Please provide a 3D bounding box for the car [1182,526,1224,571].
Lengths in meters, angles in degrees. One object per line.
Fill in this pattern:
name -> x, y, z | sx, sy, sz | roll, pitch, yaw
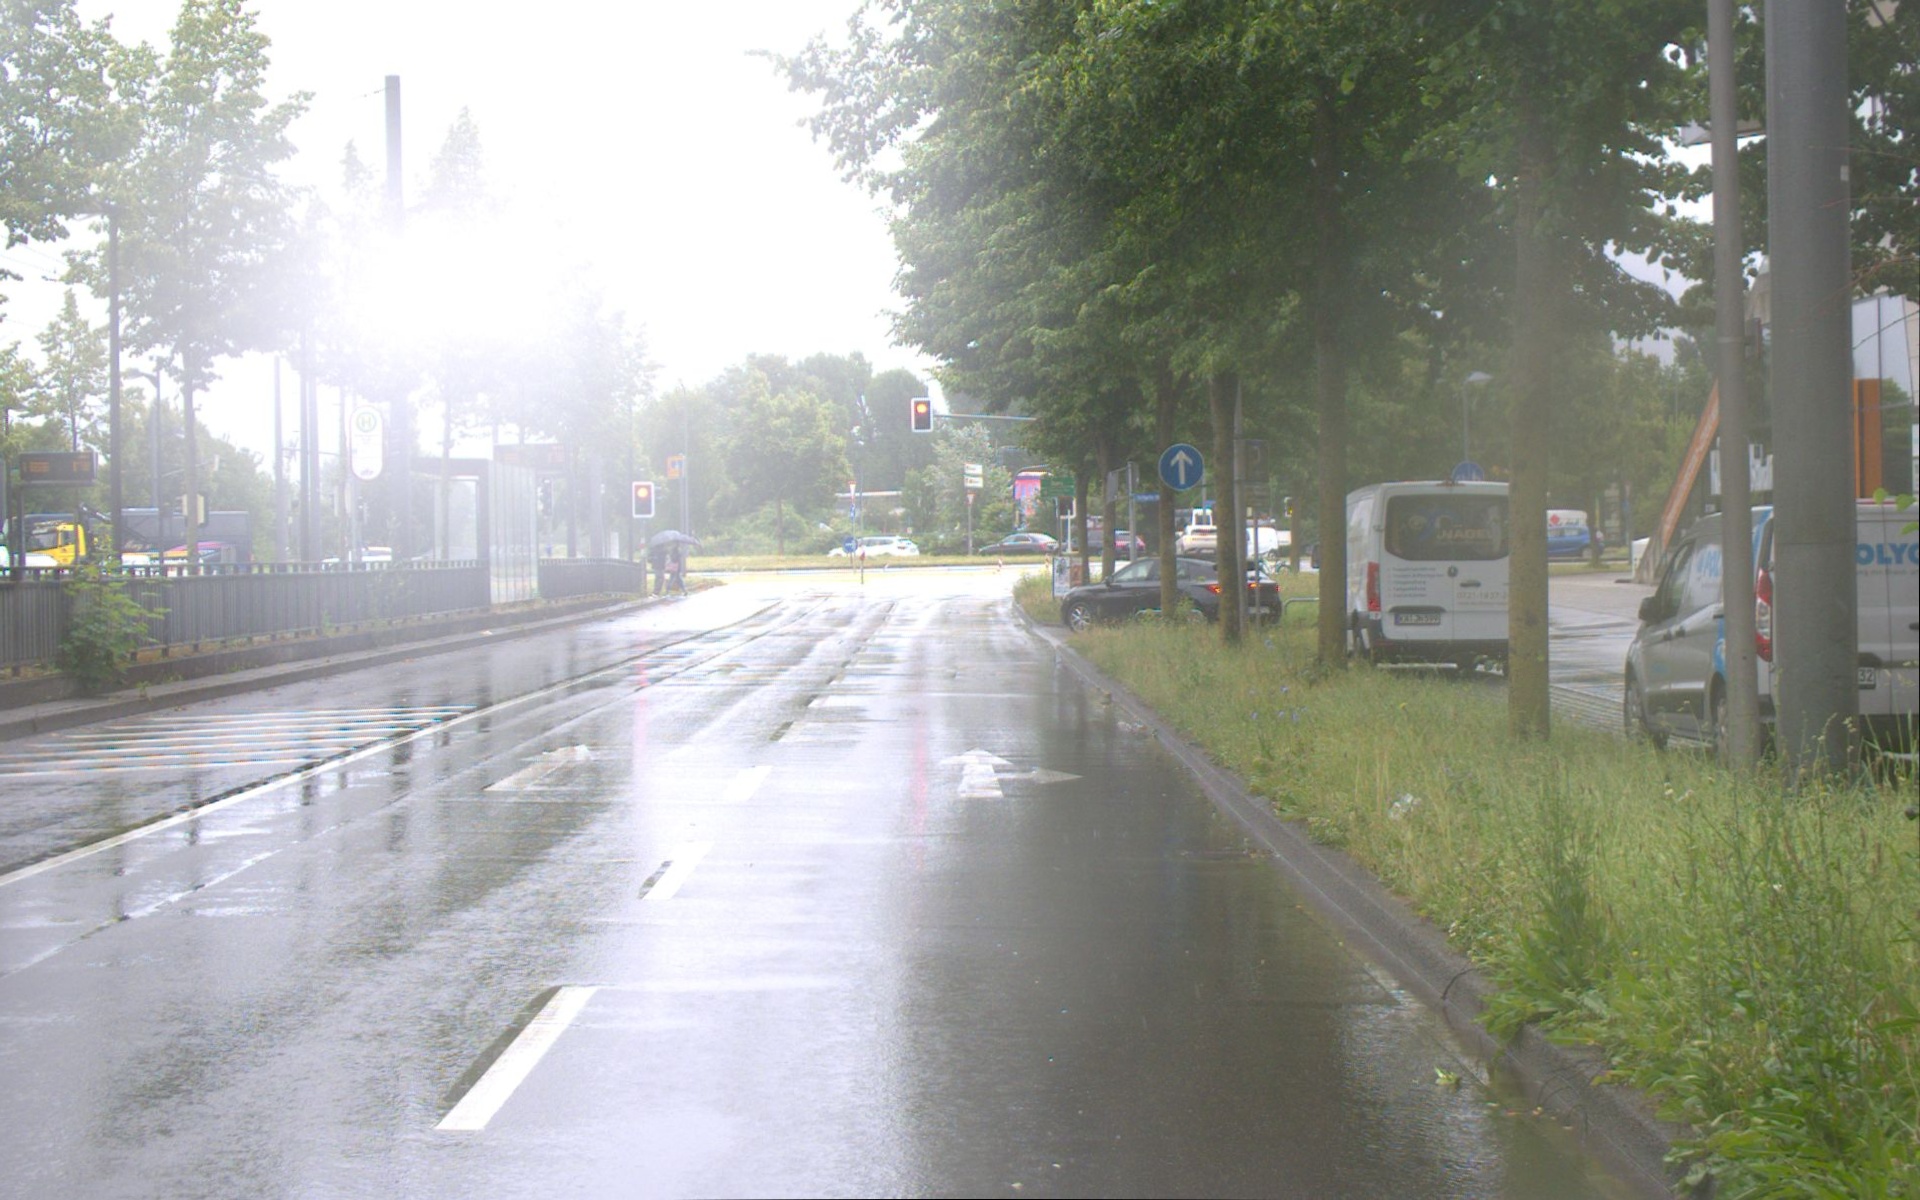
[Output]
car -> 9.890, -2.108, 140.180 | 1.623, 1.694, 3.456 | 0, 3, 3

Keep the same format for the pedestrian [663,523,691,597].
pedestrian -> -7.765, -1.098, 94.375 | 0.697, 2.006, 0.656 | -1, 3, 0

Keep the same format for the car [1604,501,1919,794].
car -> 5.794, 0.251, 23.412 | 1.906, 1.785, 4.688 | -1, 1, 0

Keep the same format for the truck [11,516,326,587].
truck -> -36.071, -2.182, 157.520 | 3.520, 3.136, 14.872 | 1, 1, 41

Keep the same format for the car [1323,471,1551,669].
car -> 5.759, -0.388, 42.030 | 2.121, 2.266, 4.565 | -1, 1, 0

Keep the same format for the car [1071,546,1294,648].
car -> 3.780, -0.082, 59.014 | 1.815, 1.539, 4.000 | -2, 4, -32

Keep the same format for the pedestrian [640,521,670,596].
pedestrian -> -8.257, -1.116, 93.062 | 0.698, 2.006, 0.656 | 0, 3, 4
